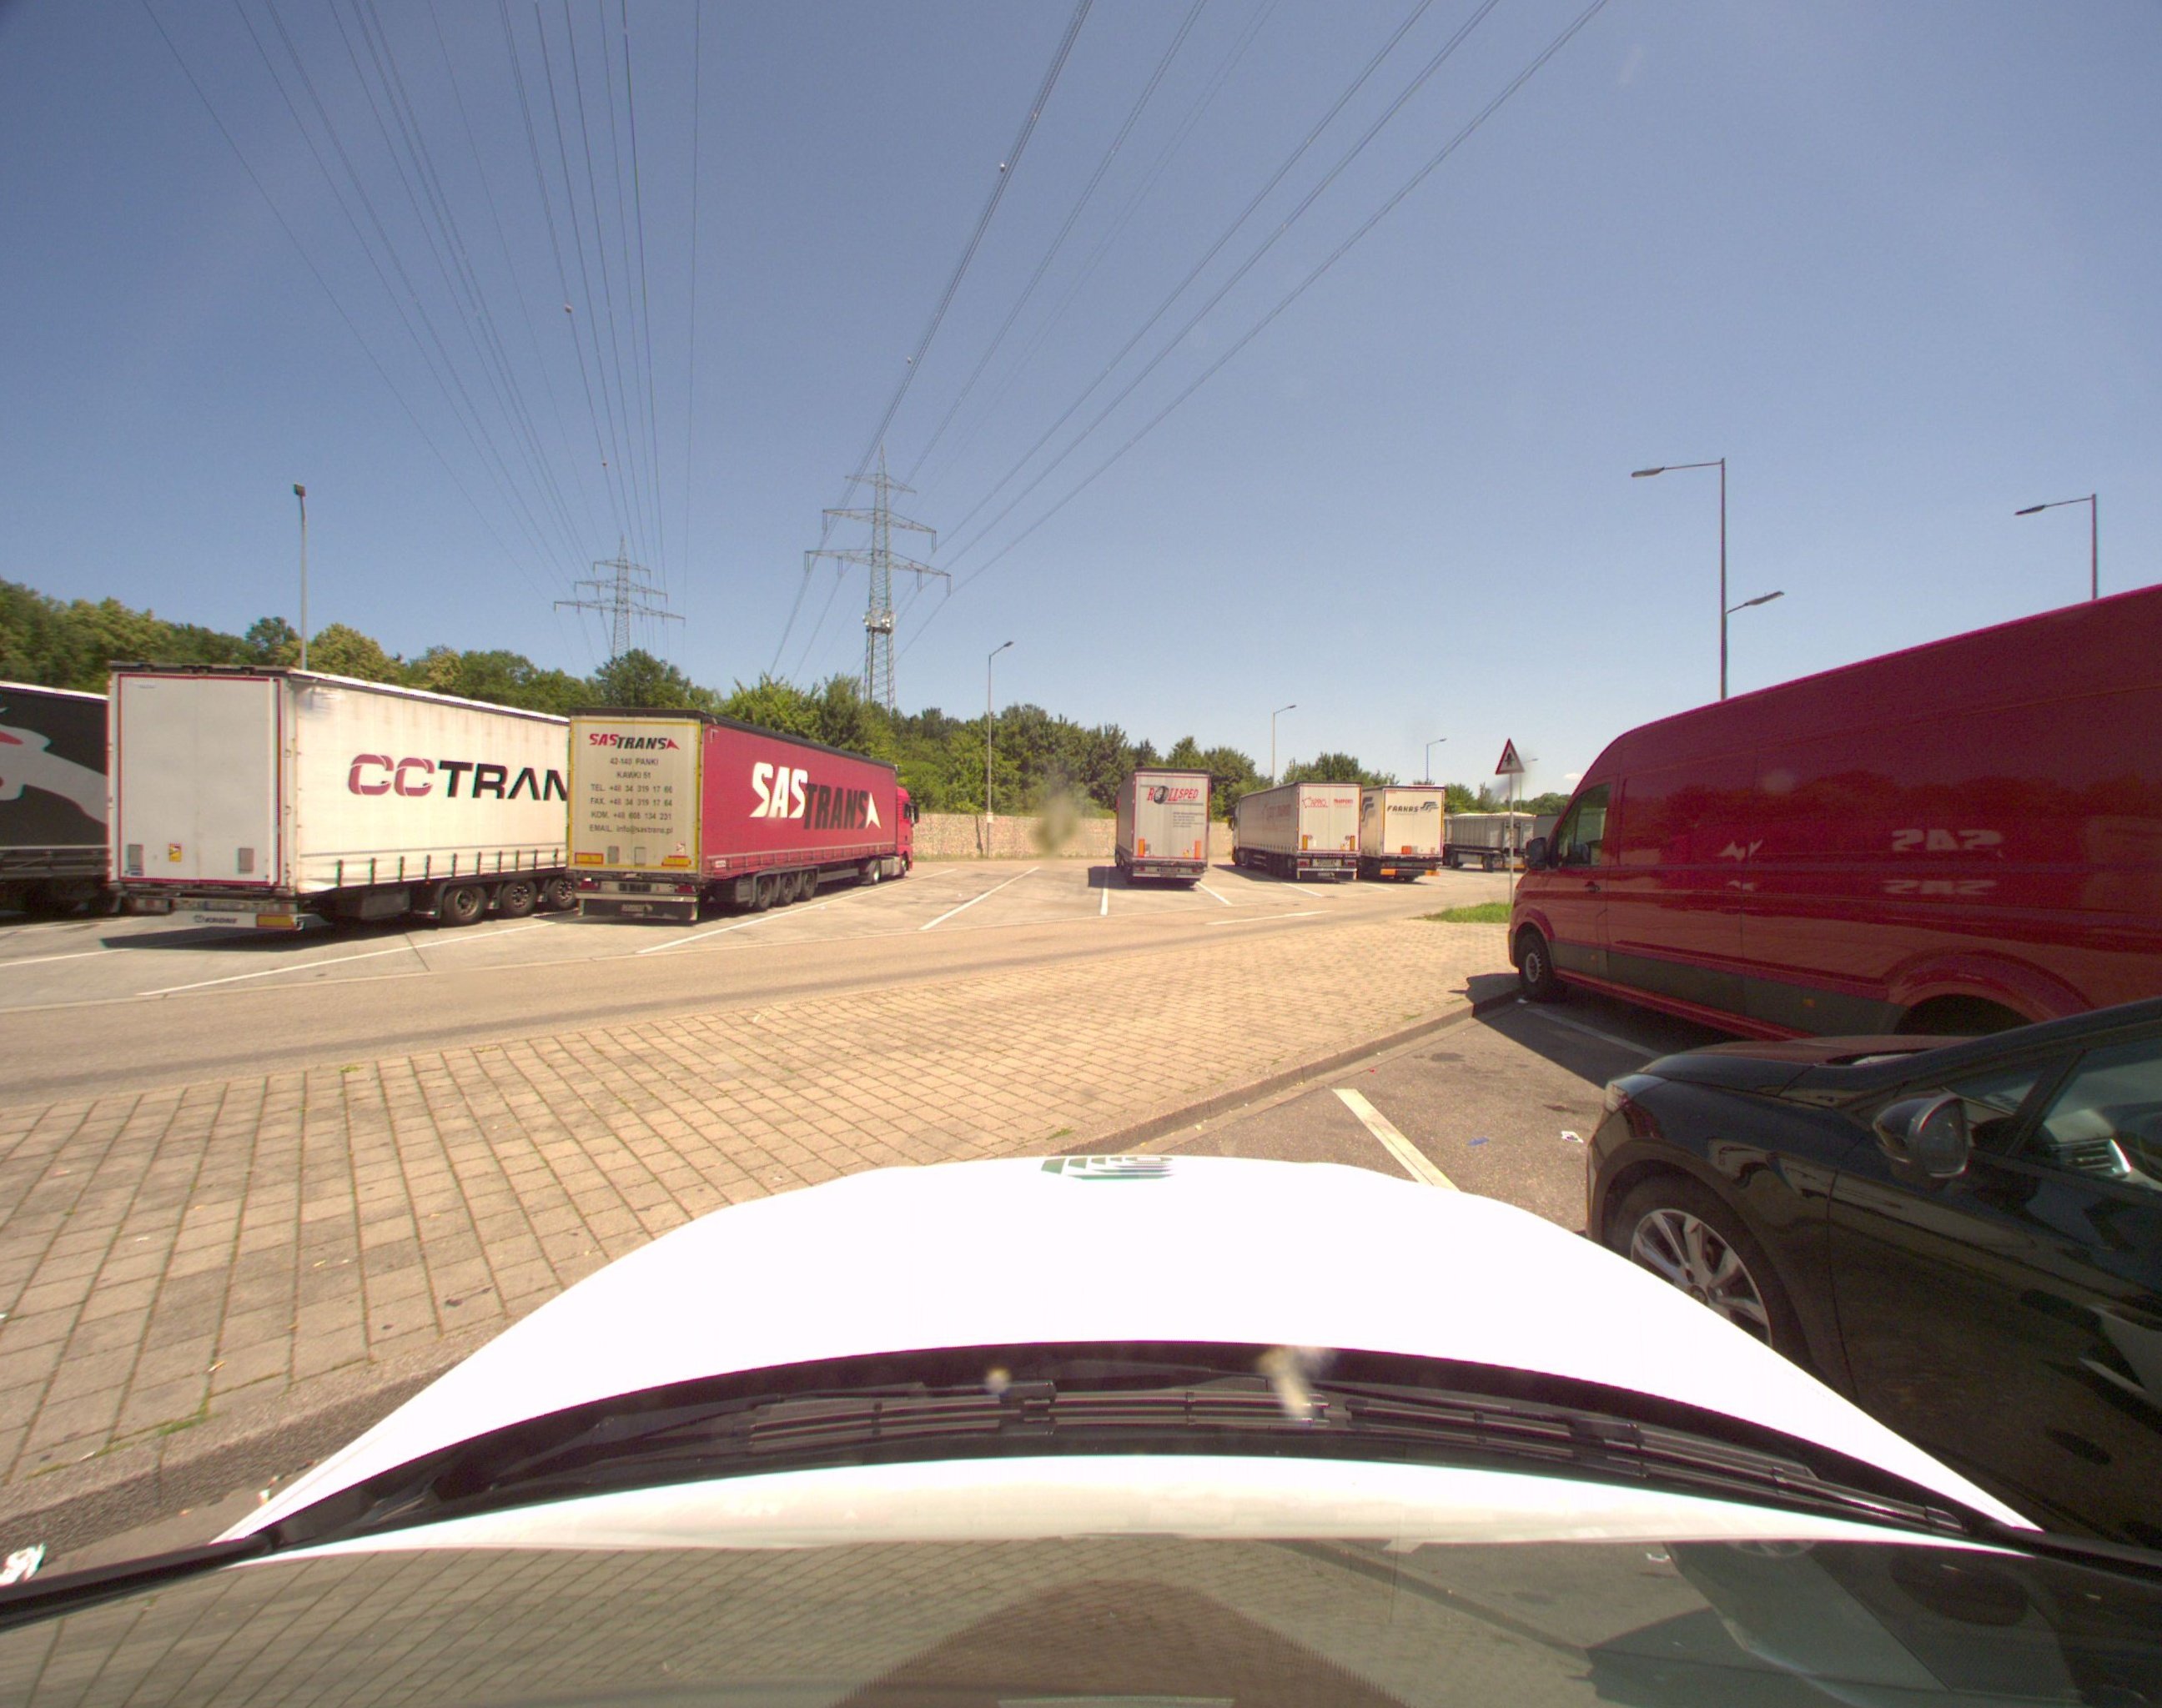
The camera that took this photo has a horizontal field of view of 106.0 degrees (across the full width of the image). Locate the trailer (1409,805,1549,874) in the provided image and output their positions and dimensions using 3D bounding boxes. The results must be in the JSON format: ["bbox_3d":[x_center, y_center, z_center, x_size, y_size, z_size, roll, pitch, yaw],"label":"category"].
[{"bbox_3d":[24.540,-0.994,51.470,2.826,3.717,13.737,1,2,3],"label":"trailer"}]

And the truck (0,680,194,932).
[{"bbox_3d":[-18.569,-0.809,13.577,2.692,4.016,4.326,1,2,2],"label":"truck"}]

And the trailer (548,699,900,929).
[{"bbox_3d":[-8.028,-0.957,21.672,2.896,4.131,13.731,1,2,2],"label":"trailer"}]

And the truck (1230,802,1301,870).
[{"bbox_3d":[10.172,-1.026,45.450,2.841,3.483,5.486,1,1,2],"label":"truck"}]

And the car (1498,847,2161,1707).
[{"bbox_3d":[2.530,0.753,1.195,1.733,1.482,3.813,-1,1,-3],"label":"car"}]

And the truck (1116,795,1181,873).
[{"bbox_3d":[3.177,-0.989,39.924,2.841,3.483,5.486,1,1,2],"label":"truck"}]

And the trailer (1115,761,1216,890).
[{"bbox_3d":[3.034,-1.102,33.312,2.896,4.132,13.727,1,2,1],"label":"trailer"}]

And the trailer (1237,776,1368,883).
[{"bbox_3d":[9.964,-1.152,38.639,2.828,4.132,13.730,1,2,2],"label":"trailer"}]

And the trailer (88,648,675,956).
[{"bbox_3d":[-12.193,-0.894,16.343,2.718,4.209,10.175,1,2,2],"label":"trailer"}]

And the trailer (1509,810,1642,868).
[{"bbox_3d":[38.381,-1.226,64.156,2.826,4.049,13.737,1,2,3],"label":"trailer"}]

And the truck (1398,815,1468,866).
[{"bbox_3d":[24.928,-1.003,57.969,2.840,3.364,5.488,1,1,3],"label":"truck"}]

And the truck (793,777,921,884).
[{"bbox_3d":[-7.791,-0.839,29.108,2.841,3.427,5.486,1,1,2],"label":"truck"}]

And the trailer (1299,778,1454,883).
[{"bbox_3d":[13.621,-1.118,39.303,2.828,4.132,13.730,1,2,2],"label":"trailer"}]

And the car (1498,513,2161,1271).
[{"bbox_3d":[5.173,0.087,5.505,2.055,2.695,6.405,-1,1,6],"label":"car"}]

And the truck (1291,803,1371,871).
[{"bbox_3d":[13.858,-0.969,45.615,2.841,3.483,5.486,1,1,2],"label":"truck"}]
